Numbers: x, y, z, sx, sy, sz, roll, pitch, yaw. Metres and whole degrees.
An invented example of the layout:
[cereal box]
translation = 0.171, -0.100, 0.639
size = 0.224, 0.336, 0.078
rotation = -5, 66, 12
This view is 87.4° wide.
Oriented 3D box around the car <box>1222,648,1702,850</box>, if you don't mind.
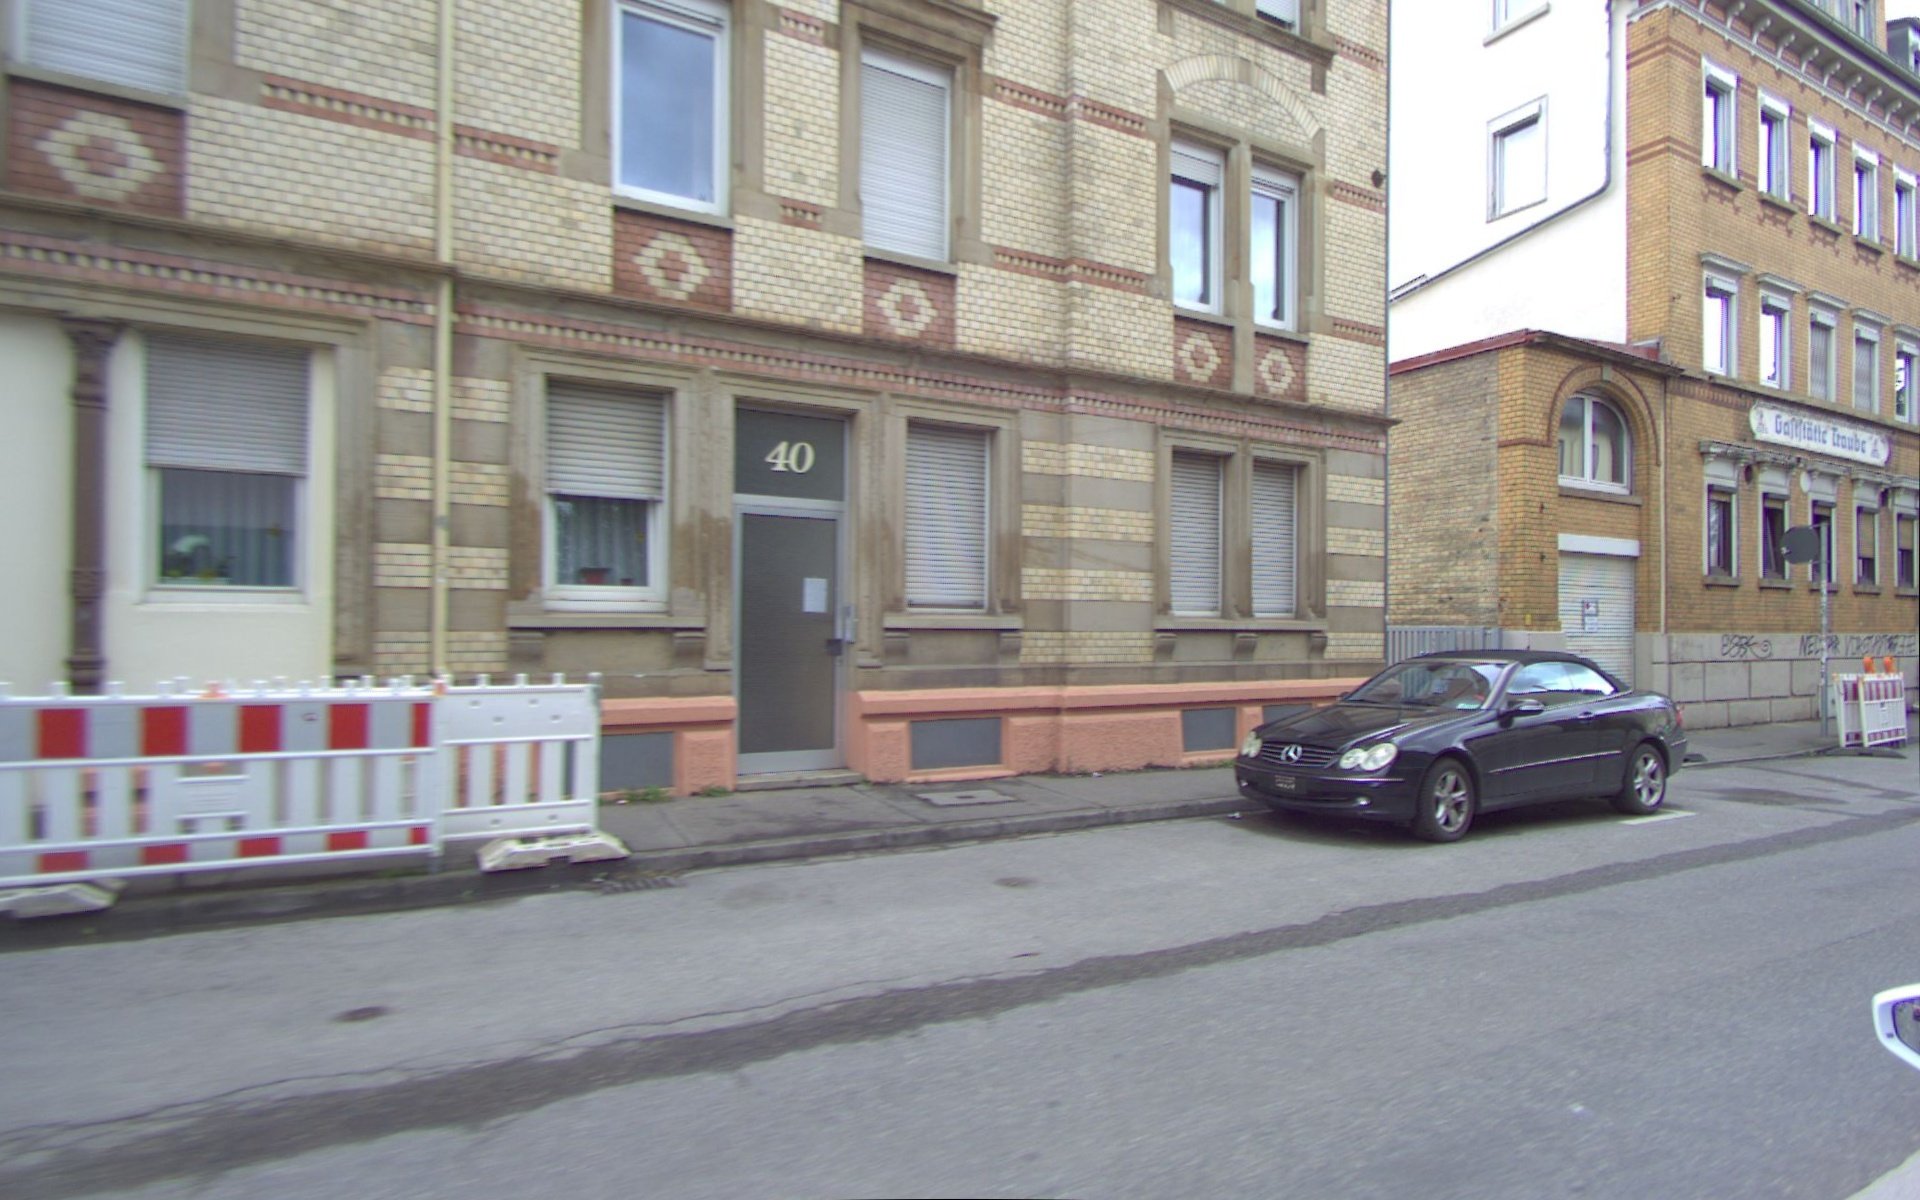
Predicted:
[car]
translation = 4.441, 1.122, 8.739
size = 4.301, 1.401, 1.572
rotation = 1, -3, -29
